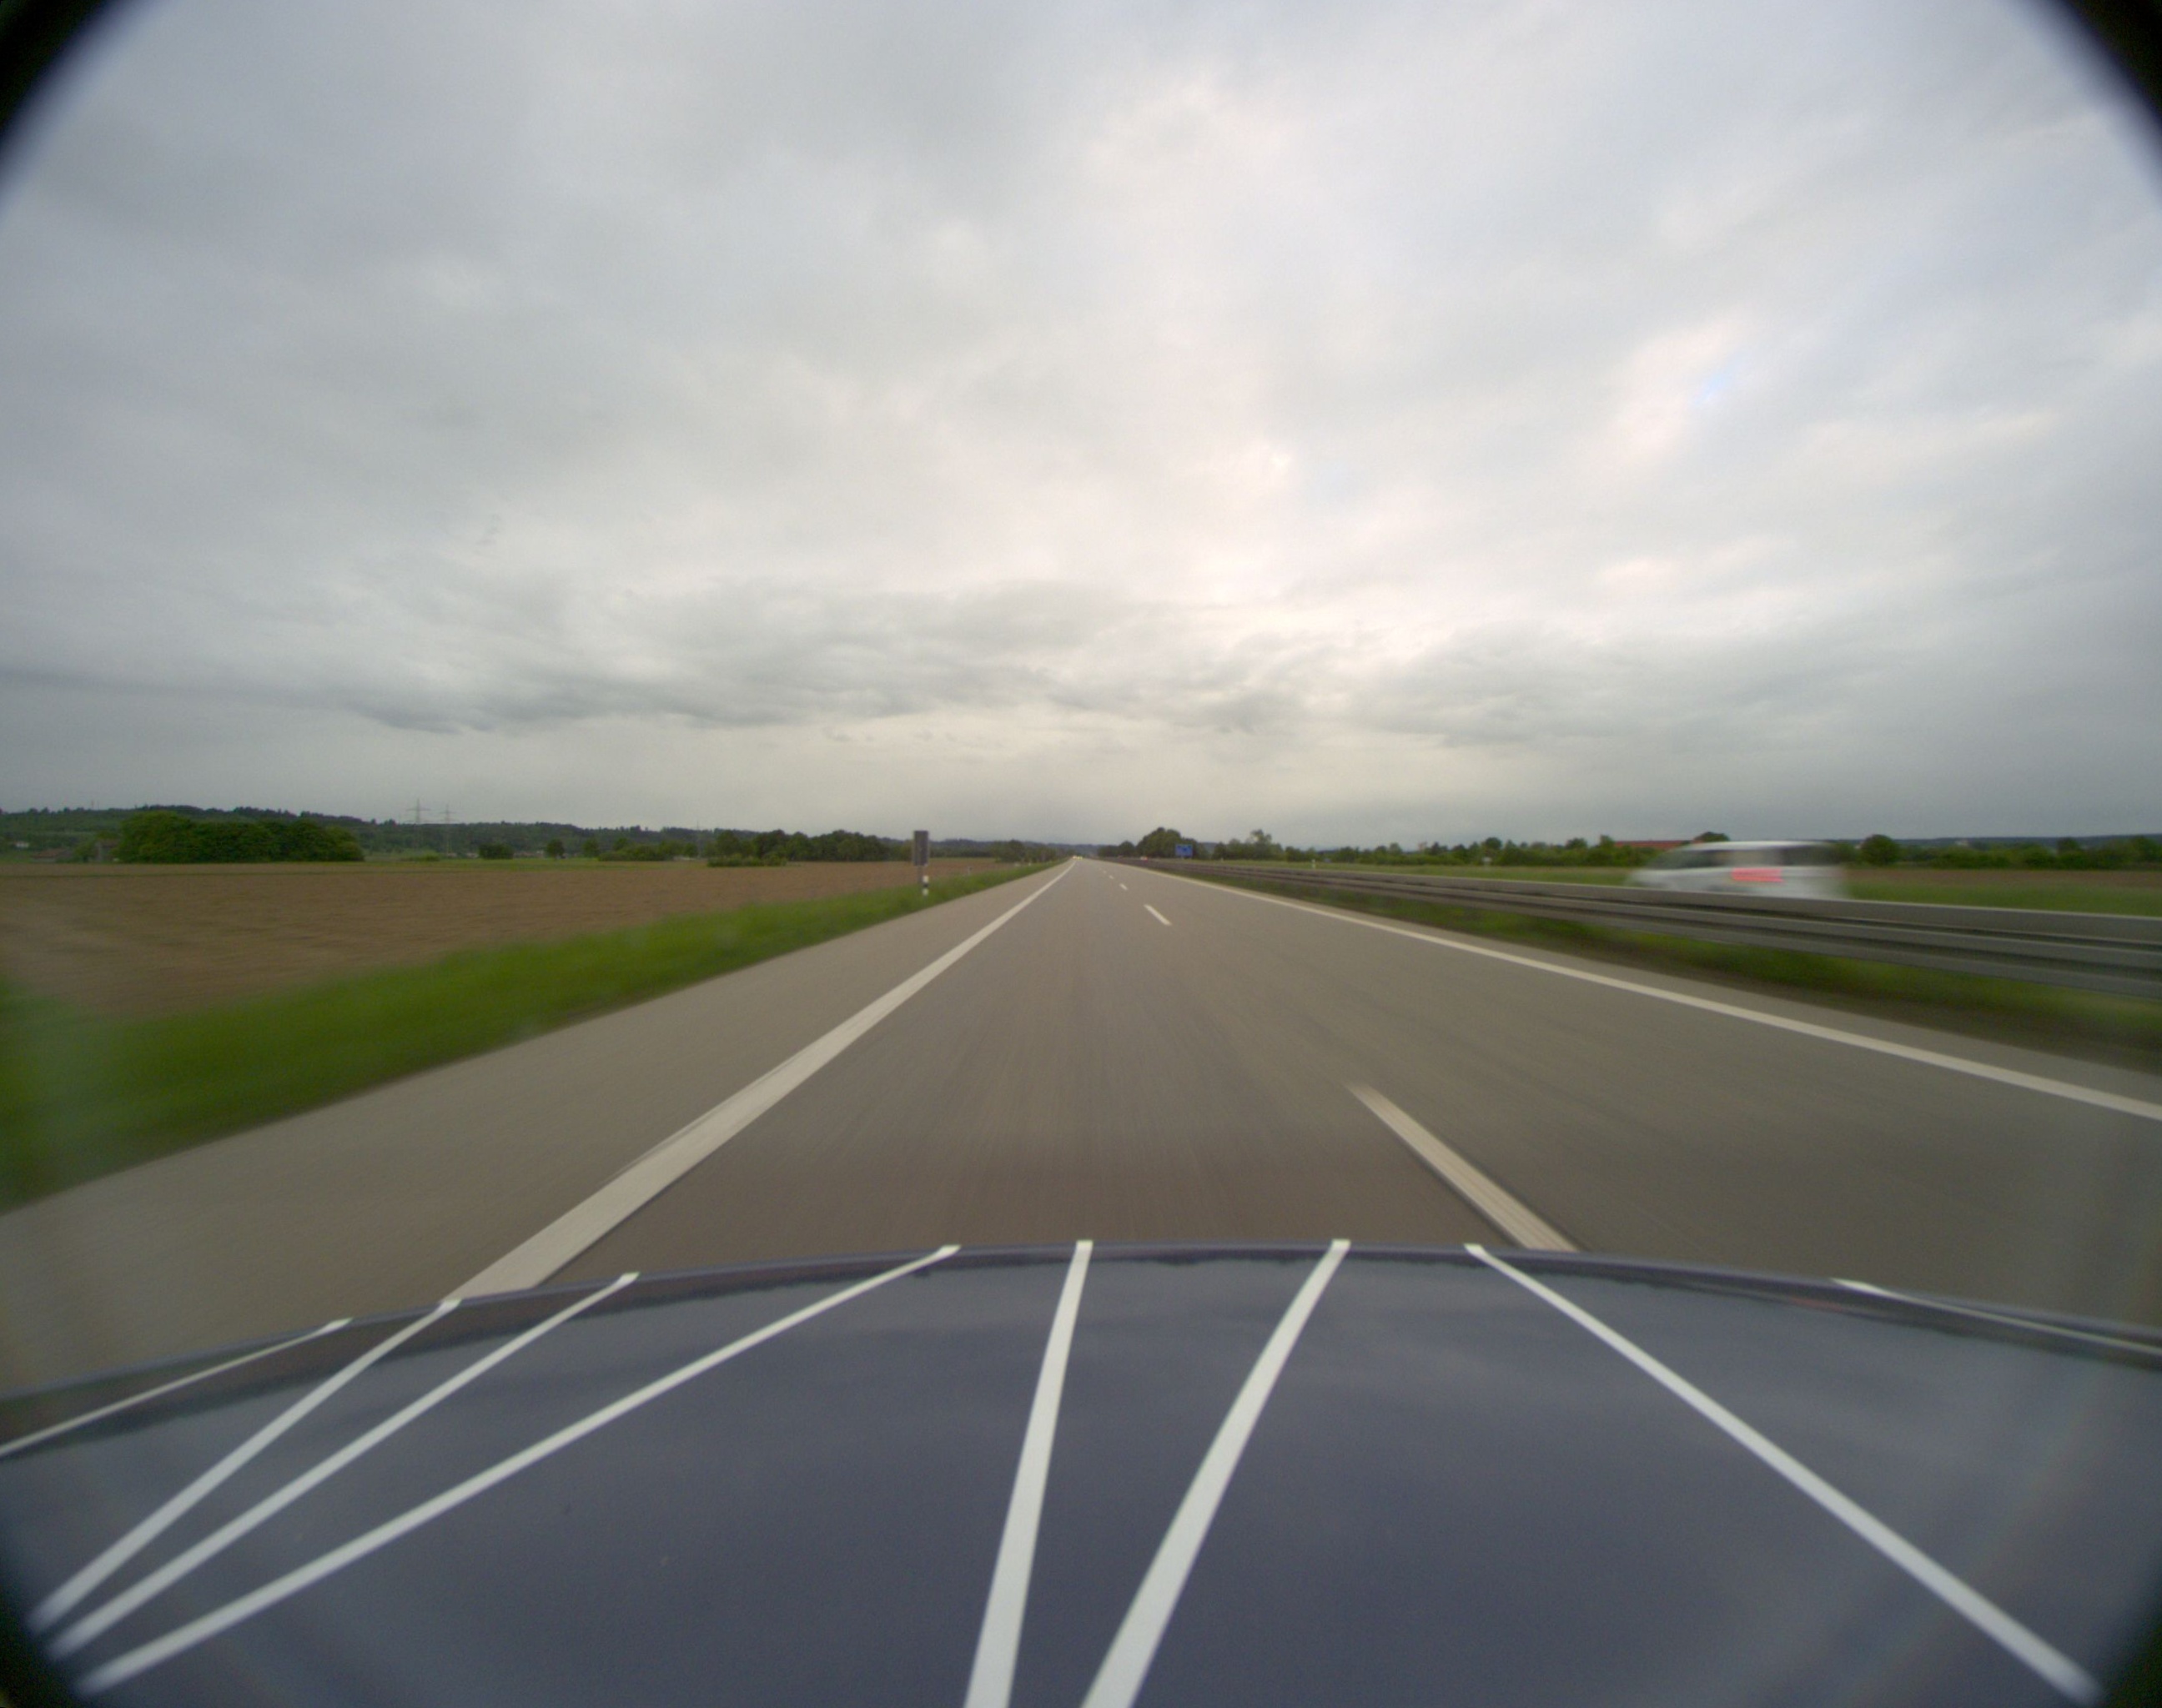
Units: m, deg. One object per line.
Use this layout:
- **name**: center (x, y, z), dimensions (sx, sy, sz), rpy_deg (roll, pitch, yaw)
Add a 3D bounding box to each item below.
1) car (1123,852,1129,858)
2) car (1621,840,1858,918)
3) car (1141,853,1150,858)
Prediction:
- **car**: center (15.059, 0.376, 254.033), dimensions (1.998, 1.691, 4.301), rpy_deg (-2, 0, 0)
- **car**: center (17.178, 0.584, 20.257), dimensions (1.998, 1.755, 4.951), rpy_deg (-2, 0, 0)
- **car**: center (18.644, 0.342, 219.709), dimensions (1.999, 1.487, 4.762), rpy_deg (-1, 0, -1)
